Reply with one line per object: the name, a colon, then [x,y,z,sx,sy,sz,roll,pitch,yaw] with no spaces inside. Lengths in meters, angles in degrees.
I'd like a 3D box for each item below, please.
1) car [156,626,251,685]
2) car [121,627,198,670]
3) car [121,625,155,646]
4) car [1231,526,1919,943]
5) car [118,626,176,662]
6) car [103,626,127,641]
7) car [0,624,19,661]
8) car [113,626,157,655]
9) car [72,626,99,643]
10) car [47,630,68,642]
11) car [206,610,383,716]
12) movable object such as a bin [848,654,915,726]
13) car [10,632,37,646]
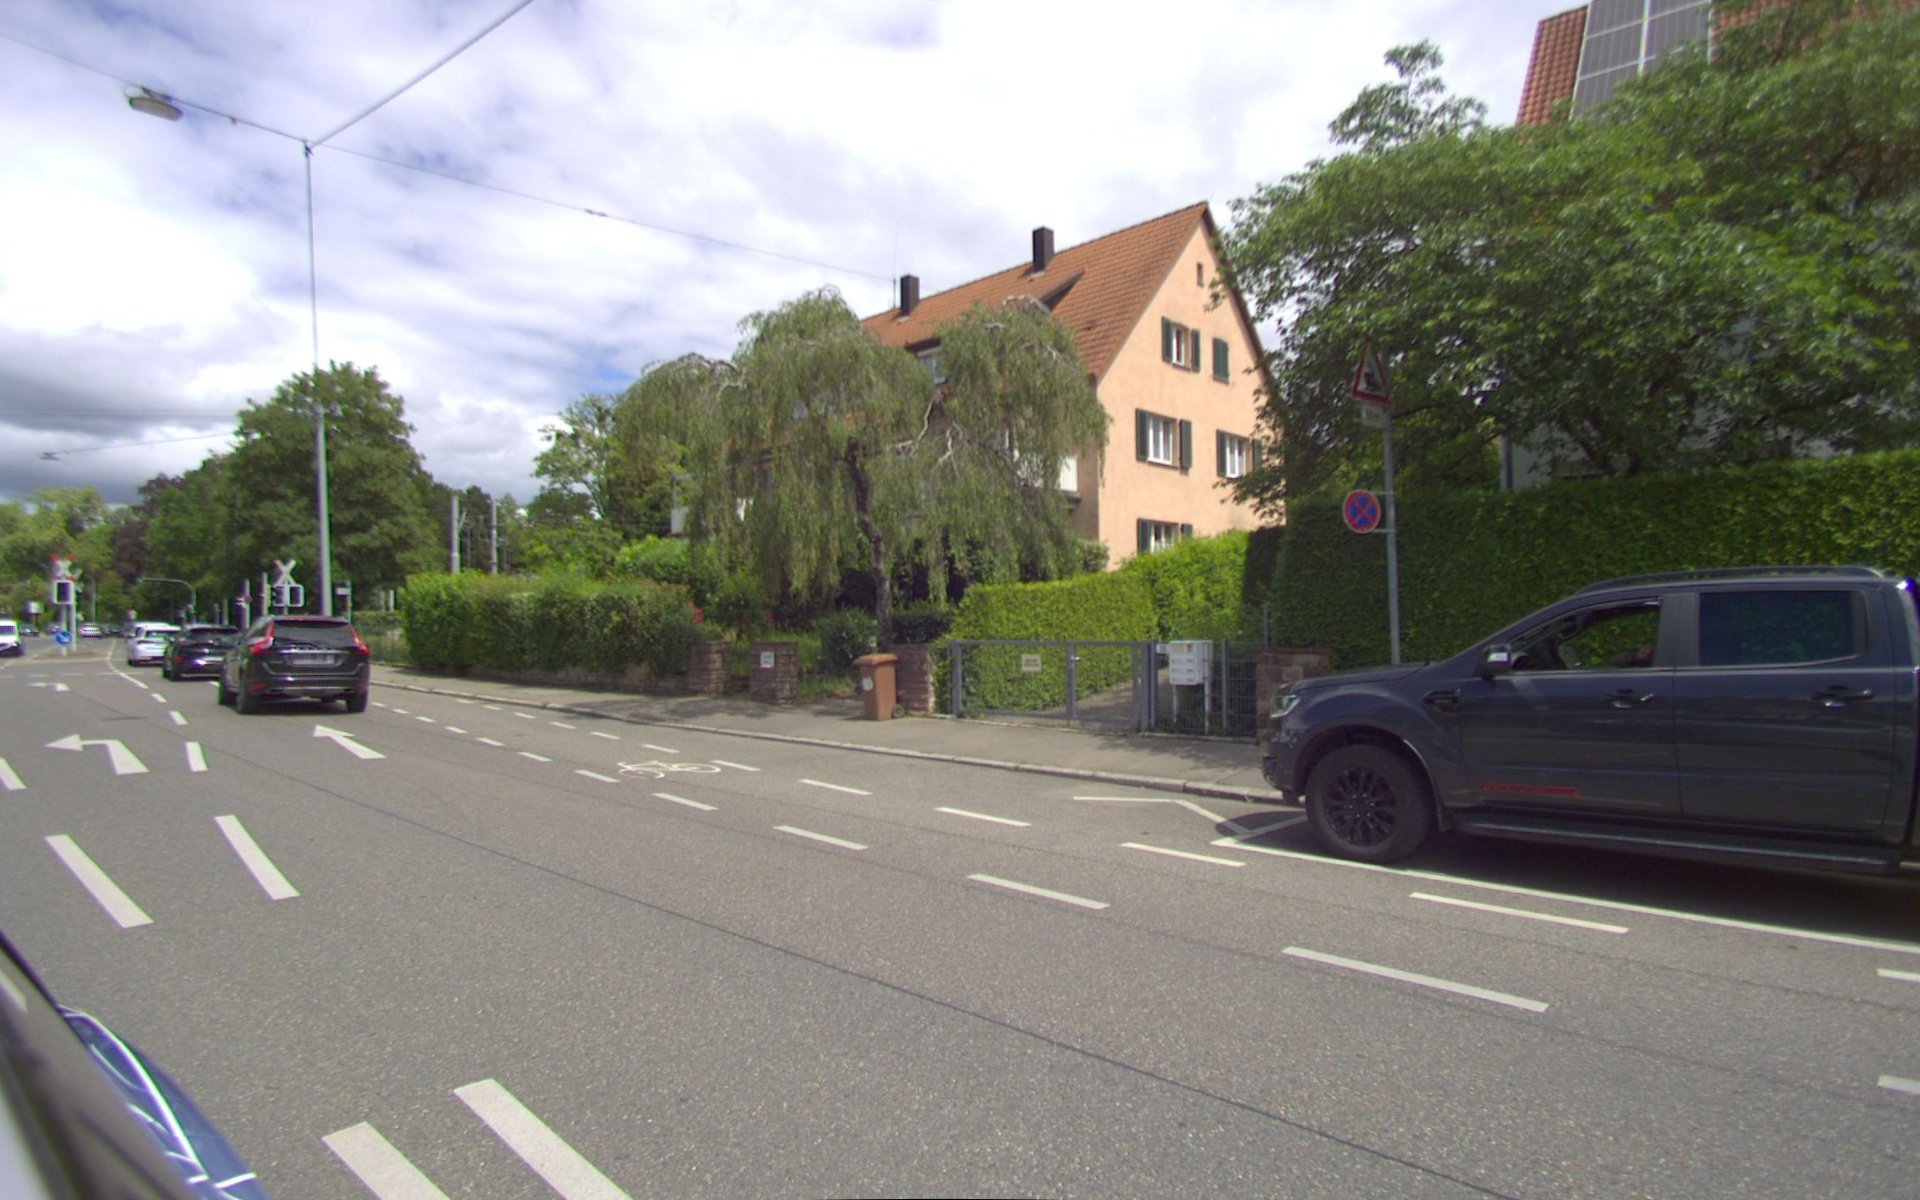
car: [-20.742,1.478,27.688,1.676,1.467,4.121,3,-2,-42]
car: [-29.362,1.739,37.068,1.853,1.487,4.447,2,-2,-43]
car: [-62.880,2.695,77.382,1.759,1.597,4.004,1,-2,-43]
car: [4.514,0.674,5.852,5.399,1.909,1.973,-2,-4,40]
car: [-37.543,1.993,46.680,1.825,1.587,4.163,0,-1,-43]
car: [-88.451,3.513,105.940,1.904,1.431,4.006,-1,0,-41]
car: [-48.621,2.124,50.843,1.905,1.795,4.005,-1,0,-42]
car: [-49.406,2.378,60.590,1.776,1.604,4.004,-1,0,-43]
car: [-81.752,3.198,94.615,1.904,1.431,4.006,-1,0,-41]
car: [-112.467,4.457,126.133,1.904,1.431,4.006,-1,0,-41]
car: [-12.029,1.108,18.169,1.893,1.661,4.298,6,-5,-42]
movable object such as a bin: [-1.119,1.264,14.428,0.645,0.952,0.669,-2,0,43]
car: [-105.158,4.402,113.674,1.969,1.438,4.006,-2,0,-40]
